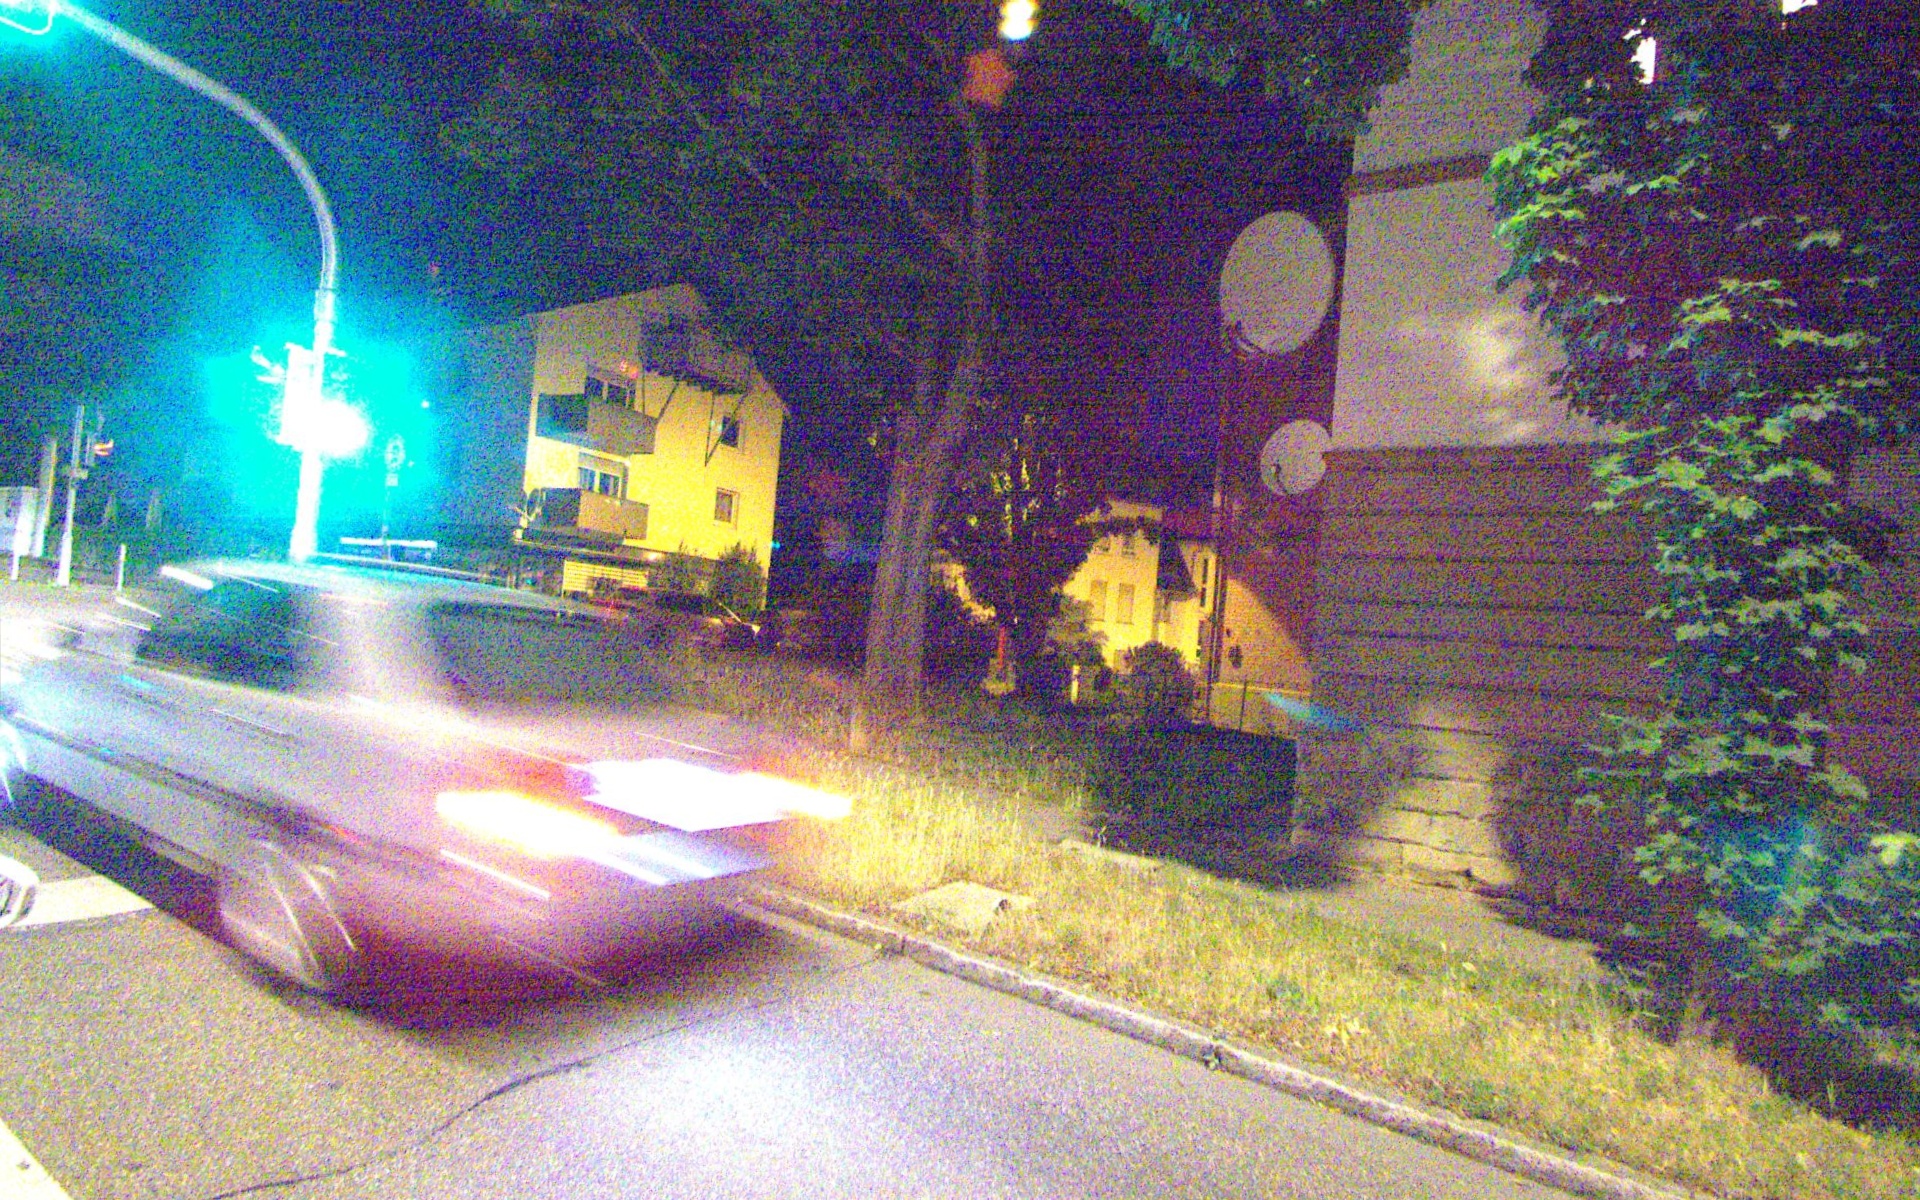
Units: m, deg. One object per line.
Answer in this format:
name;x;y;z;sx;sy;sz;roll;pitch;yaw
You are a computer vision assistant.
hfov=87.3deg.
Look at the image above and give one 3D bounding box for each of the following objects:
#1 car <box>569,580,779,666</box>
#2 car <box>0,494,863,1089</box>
car;-6.503;0.583;23.295;1.778;1.577;4.366;3;-3;38
car;-2.634;0.505;4.538;3.932;1.503;1.780;6;-2;30
